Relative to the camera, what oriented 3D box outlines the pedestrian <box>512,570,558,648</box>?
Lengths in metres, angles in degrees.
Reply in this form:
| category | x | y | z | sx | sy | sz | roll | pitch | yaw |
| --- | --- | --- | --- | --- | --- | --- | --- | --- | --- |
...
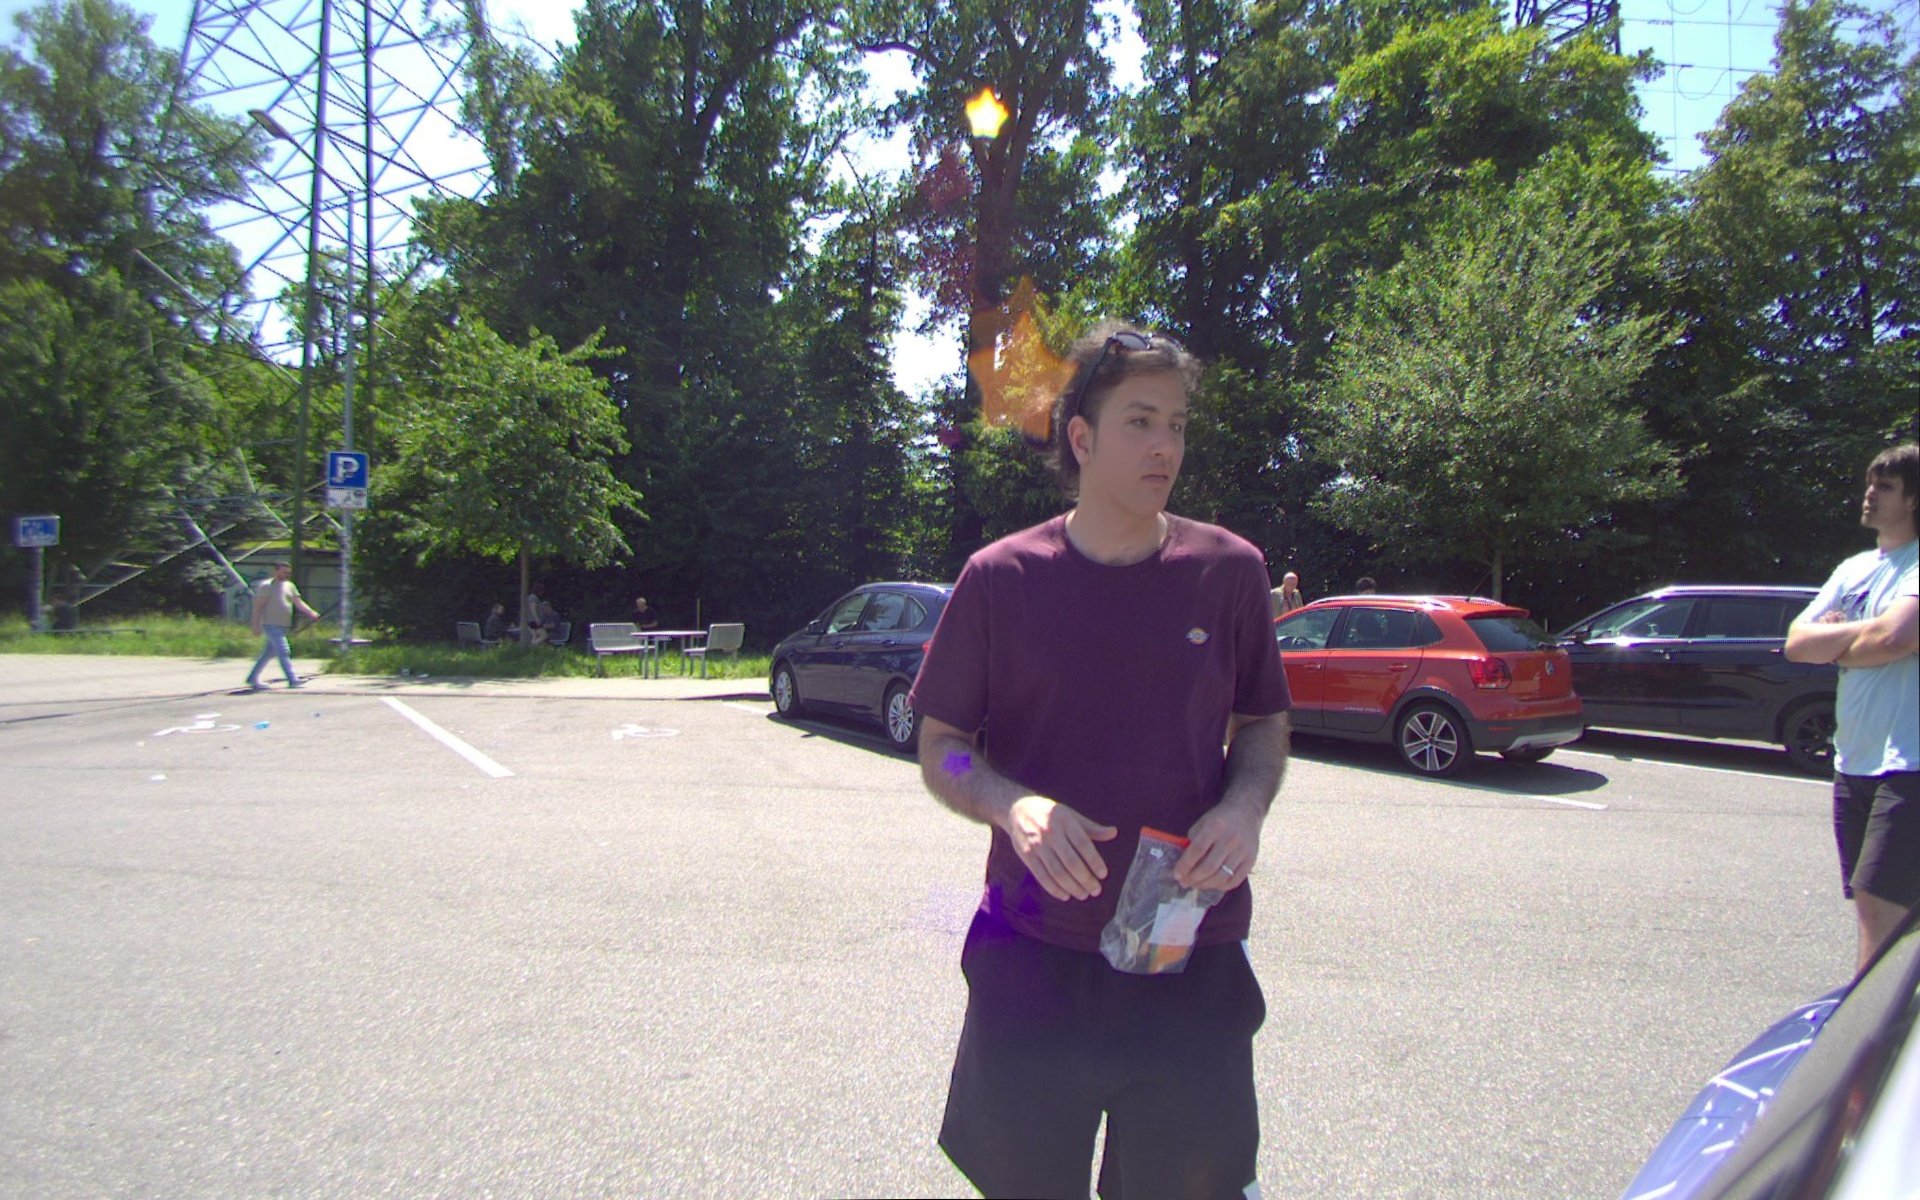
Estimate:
| category | x | y | z | sx | sy | sz | roll | pitch | yaw |
| --- | --- | --- | --- | --- | --- | --- | --- | --- | --- |
| pedestrian | -9.159 | 0.188 | 21.841 | 0.701 | 1.670 | 0.687 | 0 | 0 | -1 |

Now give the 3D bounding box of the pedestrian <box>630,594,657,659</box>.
| category | x | y | z | sx | sy | sz | roll | pitch | yaw |
| --- | --- | --- | --- | --- | --- | --- | --- | --- | --- |
| pedestrian | -6.678 | 0.555 | 21.351 | 0.438 | 1.363 | 0.462 | 0 | 0 | -5 |

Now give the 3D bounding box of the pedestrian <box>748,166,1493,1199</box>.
| category | x | y | z | sx | sy | sz | roll | pitch | yaw |
| --- | --- | --- | --- | --- | --- | --- | --- | --- | --- |
| pedestrian | 0.175 | 0.511 | 1.634 | 0.797 | 1.929 | 0.922 | 0 | 0 | -27 |

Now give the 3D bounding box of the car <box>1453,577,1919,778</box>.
| category | x | y | z | sx | sy | sz | roll | pitch | yaw |
| --- | --- | --- | --- | --- | --- | --- | --- | --- | --- |
| car | 7.104 | 0.595 | 9.869 | 1.620 | 1.575 | 3.826 | 0 | 0 | -37 |

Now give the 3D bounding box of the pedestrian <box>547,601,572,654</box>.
| category | x | y | z | sx | sy | sz | roll | pitch | yaw |
| --- | --- | --- | --- | --- | --- | --- | --- | --- | --- |
| pedestrian | -9.337 | 0.625 | 23.604 | 0.452 | 1.209 | 0.447 | 0 | 0 | -34 |

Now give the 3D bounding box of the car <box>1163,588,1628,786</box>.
| category | x | y | z | sx | sy | sz | roll | pitch | yaw |
| --- | --- | --- | --- | --- | --- | --- | --- | --- | --- |
| car | 3.888 | 0.637 | 9.653 | 1.619 | 1.487 | 3.830 | 0 | 0 | -33 |

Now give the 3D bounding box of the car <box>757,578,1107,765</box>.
| category | x | y | z | sx | sy | sz | roll | pitch | yaw |
| --- | --- | --- | --- | --- | --- | --- | --- | --- | --- |
| car | -0.534 | 0.555 | 10.793 | 1.714 | 1.572 | 4.347 | 0 | 1 | -33 |

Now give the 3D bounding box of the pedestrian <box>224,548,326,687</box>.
| category | x | y | z | sx | sy | sz | roll | pitch | yaw |
| --- | --- | --- | --- | --- | --- | --- | --- | --- | --- |
| pedestrian | -9.828 | 0.242 | 14.550 | 0.904 | 1.929 | 0.813 | 0 | 0 | 3 |

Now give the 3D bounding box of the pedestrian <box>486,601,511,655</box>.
| category | x | y | z | sx | sy | sz | roll | pitch | yaw |
| --- | --- | --- | --- | --- | --- | --- | --- | --- | --- |
| pedestrian | -10.426 | 0.624 | 22.863 | 0.452 | 1.182 | 0.447 | 0 | 0 | -34 |

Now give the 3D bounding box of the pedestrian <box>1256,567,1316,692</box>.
| category | x | y | z | sx | sy | sz | roll | pitch | yaw |
| --- | --- | --- | --- | --- | --- | --- | --- | --- | --- |
| pedestrian | 4.337 | 0.386 | 13.497 | 0.636 | 1.625 | 0.571 | 0 | 0 | 6 |

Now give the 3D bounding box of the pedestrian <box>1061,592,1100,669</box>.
| category | x | y | z | sx | sy | sz | roll | pitch | yaw |
| --- | --- | --- | --- | --- | --- | --- | --- | --- | --- |
| pedestrian | 2.011 | 0.499 | 16.861 | 0.586 | 1.261 | 0.498 | 0 | 0 | 16 |

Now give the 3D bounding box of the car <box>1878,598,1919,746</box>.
| category | x | y | z | sx | sy | sz | roll | pitch | yaw |
| --- | --- | --- | --- | --- | --- | --- | --- | --- | --- |
| car | 10.904 | 0.704 | 9.014 | 1.620 | 1.420 | 3.826 | 0 | 0 | -37 |

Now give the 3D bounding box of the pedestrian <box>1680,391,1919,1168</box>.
| category | x | y | z | sx | sy | sz | roll | pitch | yaw |
| --- | --- | --- | --- | --- | --- | --- | --- | --- | --- |
| pedestrian | 2.839 | 0.452 | 2.928 | 0.902 | 1.974 | 0.815 | 0 | 0 | -8 |

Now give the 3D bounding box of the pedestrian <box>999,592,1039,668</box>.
| category | x | y | z | sx | sy | sz | roll | pitch | yaw |
| --- | --- | --- | --- | --- | --- | --- | --- | --- | --- |
| pedestrian | 0.997 | 0.502 | 17.117 | 0.586 | 1.261 | 0.445 | 0 | 0 | 16 |

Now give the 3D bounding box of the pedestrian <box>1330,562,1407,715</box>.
| category | x | y | z | sx | sy | sz | roll | pitch | yaw |
| --- | --- | --- | --- | --- | --- | --- | --- | --- | --- |
| pedestrian | 4.468 | 0.408 | 11.095 | 0.636 | 1.625 | 0.571 | 0 | 0 | 6 |

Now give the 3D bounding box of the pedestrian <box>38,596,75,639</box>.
| category | x | y | z | sx | sy | sz | roll | pitch | yaw |
| --- | --- | --- | --- | --- | --- | --- | --- | --- | --- |
| pedestrian | -20.944 | 0.410 | 23.463 | 0.452 | 0.987 | 0.447 | 0 | 0 | -2 |
